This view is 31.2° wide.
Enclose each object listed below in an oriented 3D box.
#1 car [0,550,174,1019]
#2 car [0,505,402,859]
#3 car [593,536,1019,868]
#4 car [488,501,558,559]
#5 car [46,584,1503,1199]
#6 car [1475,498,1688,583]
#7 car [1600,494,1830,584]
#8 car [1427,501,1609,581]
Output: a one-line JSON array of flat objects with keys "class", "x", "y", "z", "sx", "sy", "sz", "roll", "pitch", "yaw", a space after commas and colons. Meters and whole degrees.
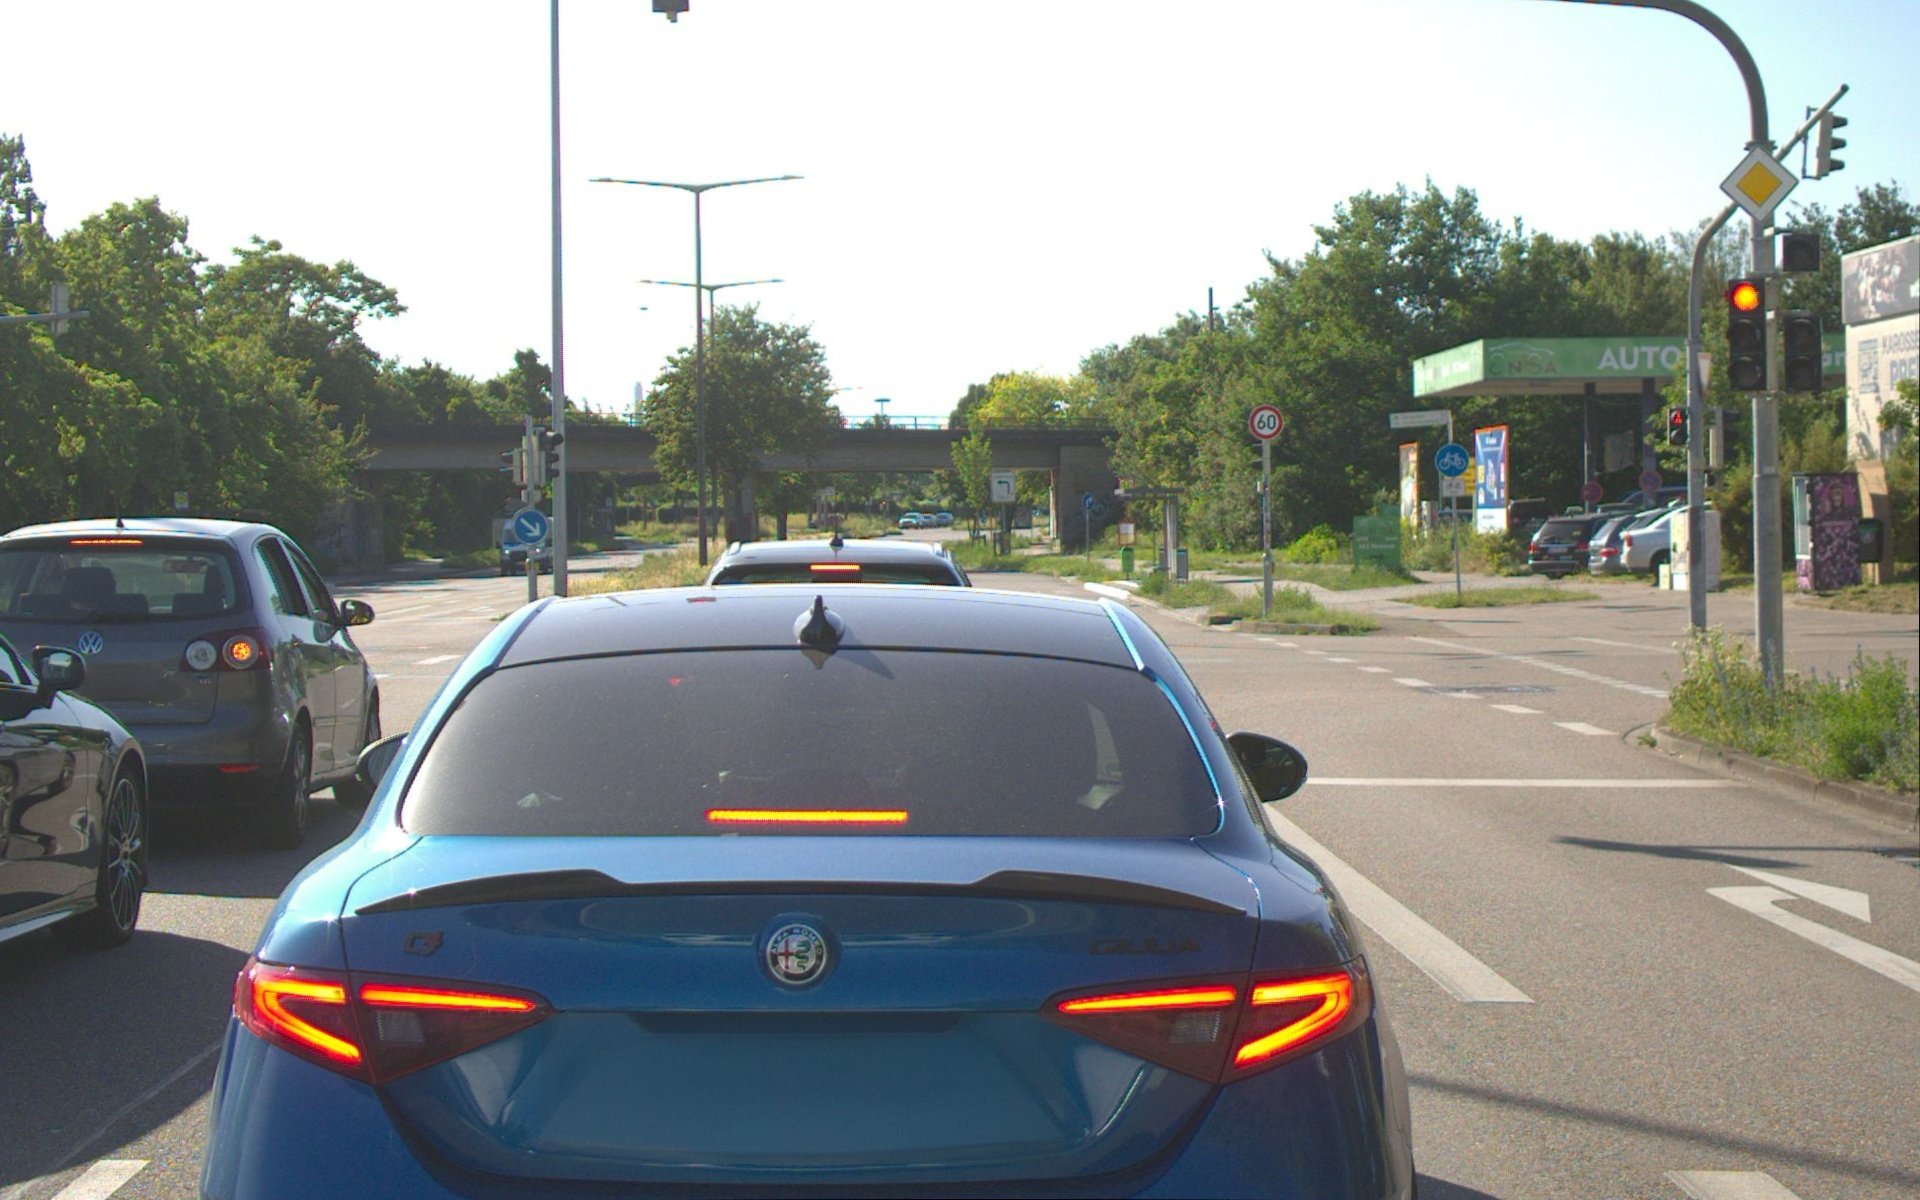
[{"class": "car", "x": -3.806, "y": 0.569, "z": 10.635, "sx": 1.768, "sy": 1.409, "sz": 4.461, "roll": 0, "pitch": 1, "yaw": -1}, {"class": "car", "x": -3.970, "y": 0.331, "z": 17.521, "sx": 1.648, "sy": 1.593, "sz": 3.932, "roll": 0, "pitch": 1, "yaw": -1}, {"class": "car", "x": -0.699, "y": 0.412, "z": 17.073, "sx": 1.866, "sy": 1.445, "sz": 3.932, "roll": 0, "pitch": 1, "yaw": -1}, {"class": "car", "x": -18.686, "y": -3.014, "z": 147.238, "sx": 2.431, "sy": 2.418, "sz": 5.831, "roll": 0, "pitch": 1, "yaw": -2}, {"class": "car", "x": -0.261, "y": 0.696, "z": 6.385, "sx": 1.866, "sy": 1.380, "sz": 3.932, "roll": 0, "pitch": 1, "yaw": -1}, {"class": "car", "x": 12.823, "y": -1.233, "z": 70.957, "sx": 3.986, "sy": 1.700, "sz": 1.696, "roll": -1, "pitch": 1, "yaw": -19}, {"class": "car", "x": 14.513, "y": -1.180, "z": 66.101, "sx": 3.986, "sy": 1.700, "sz": 1.696, "roll": -1, "pitch": 1, "yaw": -16}, {"class": "car", "x": 12.022, "y": -1.271, "z": 74.148, "sx": 3.483, "sy": 1.700, "sz": 1.696, "roll": -1, "pitch": 1, "yaw": -16}]
